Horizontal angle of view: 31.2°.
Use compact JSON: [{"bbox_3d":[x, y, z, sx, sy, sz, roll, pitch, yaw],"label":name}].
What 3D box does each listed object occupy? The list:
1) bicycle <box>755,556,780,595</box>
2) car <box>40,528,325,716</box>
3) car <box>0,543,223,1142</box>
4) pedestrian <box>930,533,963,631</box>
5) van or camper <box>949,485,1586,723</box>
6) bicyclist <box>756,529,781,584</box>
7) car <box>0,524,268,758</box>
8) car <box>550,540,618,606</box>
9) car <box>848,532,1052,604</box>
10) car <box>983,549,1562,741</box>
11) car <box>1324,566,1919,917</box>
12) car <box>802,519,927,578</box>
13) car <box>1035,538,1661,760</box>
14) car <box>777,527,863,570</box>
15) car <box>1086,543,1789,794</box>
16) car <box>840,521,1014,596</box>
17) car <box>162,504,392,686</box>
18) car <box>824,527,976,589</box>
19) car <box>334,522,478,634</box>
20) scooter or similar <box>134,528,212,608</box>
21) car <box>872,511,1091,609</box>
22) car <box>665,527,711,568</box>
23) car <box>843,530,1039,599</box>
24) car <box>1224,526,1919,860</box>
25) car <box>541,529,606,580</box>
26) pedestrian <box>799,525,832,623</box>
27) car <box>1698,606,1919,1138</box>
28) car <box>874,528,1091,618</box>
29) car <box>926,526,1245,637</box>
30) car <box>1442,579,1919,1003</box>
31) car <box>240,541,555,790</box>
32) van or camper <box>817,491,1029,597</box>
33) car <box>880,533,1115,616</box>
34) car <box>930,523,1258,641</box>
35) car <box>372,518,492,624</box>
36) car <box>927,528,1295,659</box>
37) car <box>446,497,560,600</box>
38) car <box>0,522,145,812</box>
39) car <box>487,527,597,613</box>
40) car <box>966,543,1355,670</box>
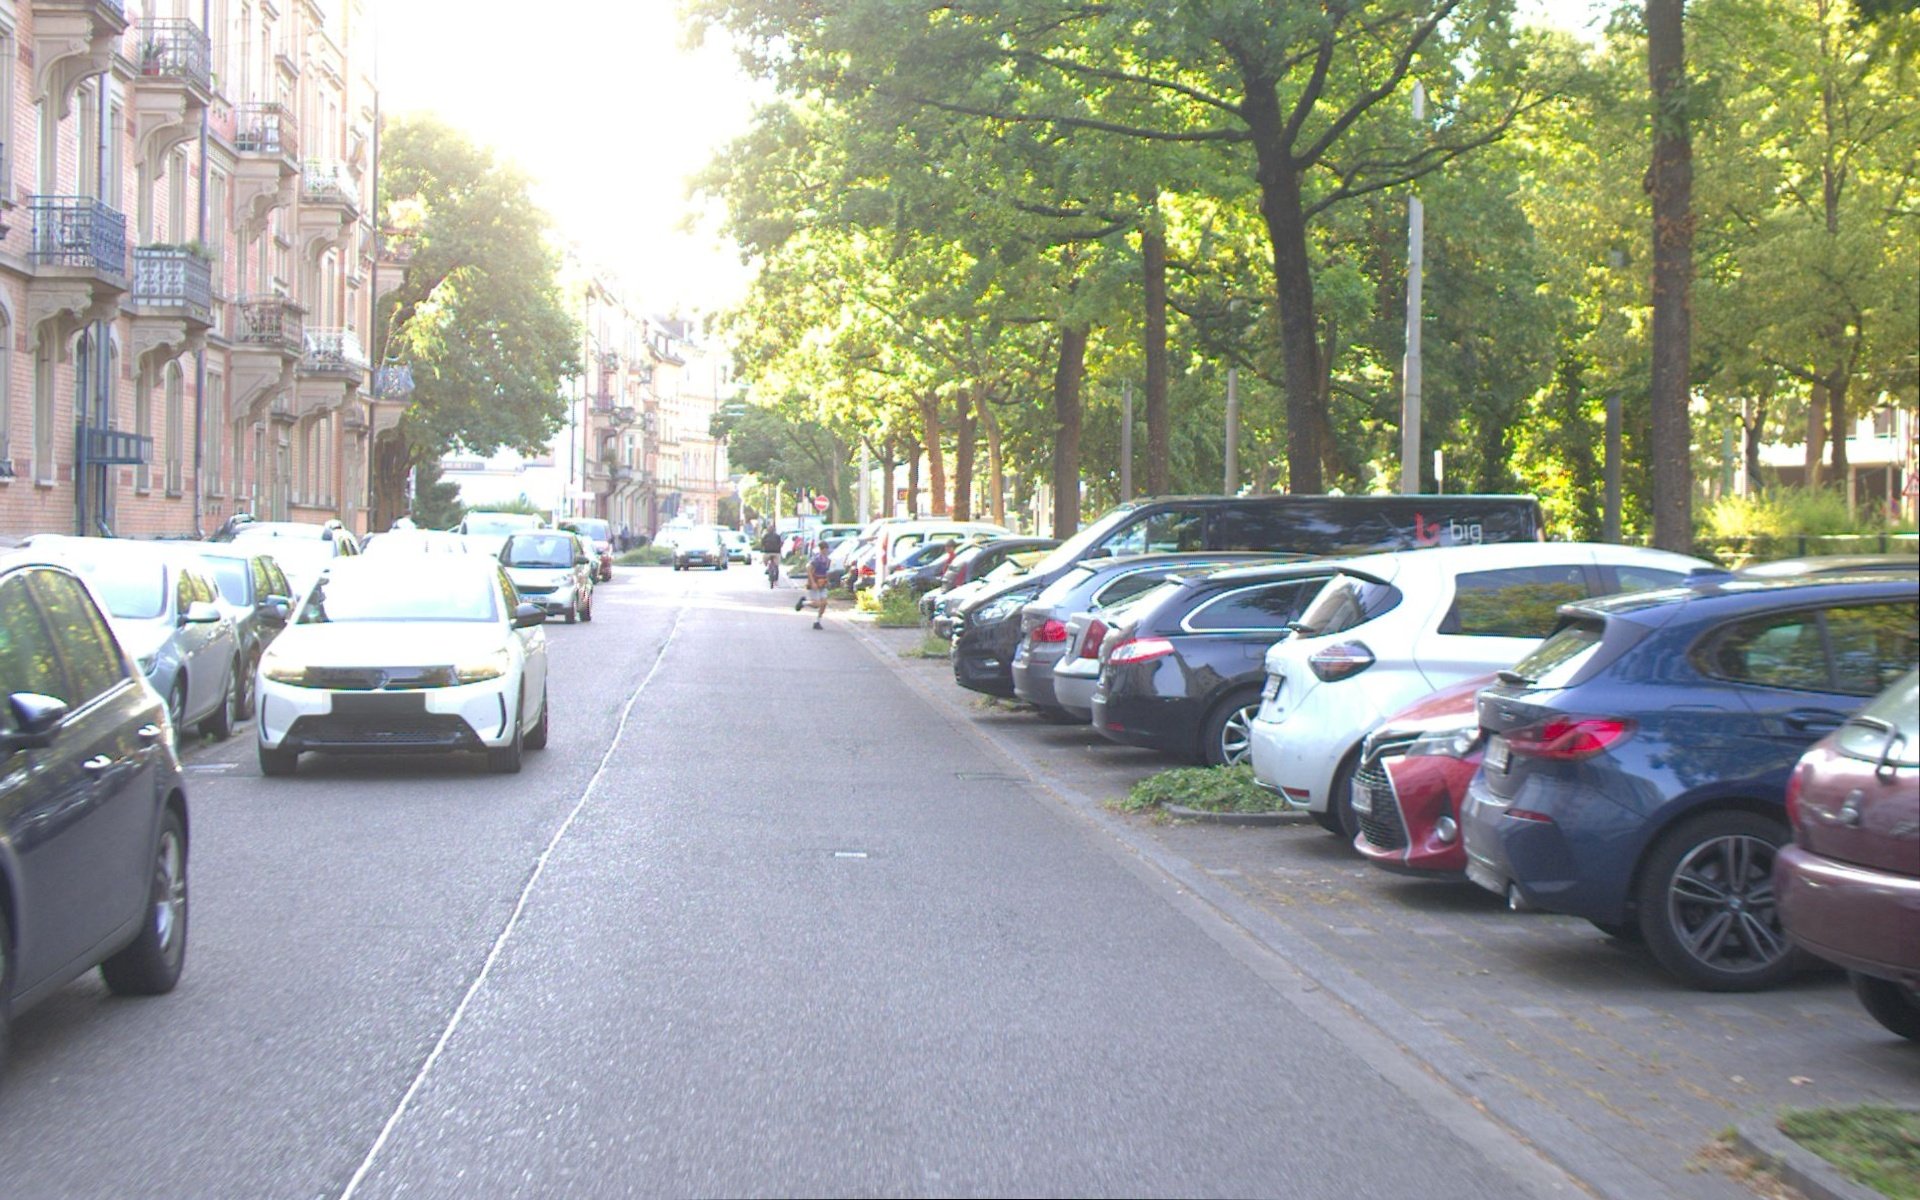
[{"bbox_3d":[-5.572,-0.706,99.578,0.641,1.096,1.944,2,-1,-5],"label":"bicycle"},{"bbox_3d":[-6.709,0.137,30.032,1.615,1.447,4.000,3,1,-1],"label":"car"},{"bbox_3d":[-3.297,0.585,9.656,1.739,1.474,4.001,0,1,-2],"label":"car"},{"bbox_3d":[-0.212,-0.289,54.596,0.380,1.511,0.518,2,3,16],"label":"pedestrian"},{"bbox_3d":[2.628,0.006,30.437,5.413,2.020,2.030,0,2,-1],"label":"van or camper"},{"bbox_3d":[-5.553,-1.254,99.629,0.627,1.568,0.802,2,-1,-5],"label":"bicyclist"},{"bbox_3d":[-6.266,0.232,25.120,1.668,1.466,4.284,4,1,-3],"label":"car"},{"bbox_3d":[-12.081,-0.890,110.636,1.957,2.011,4.268,2,1,-4],"label":"car"},{"bbox_3d":[-0.198,-0.690,72.405,4.220,1.448,1.649,-1,1,1],"label":"car"},{"bbox_3d":[2.480,0.362,27.909,4.398,1.496,1.838,0,0,-6],"label":"car"},{"bbox_3d":[3.607,0.599,15.237,3.782,1.468,1.664,0,0,-1],"label":"car"},{"bbox_3d":[-3.204,-1.708,115.049,3.986,1.788,1.859,2,-1,-6],"label":"car"},{"bbox_3d":[2.784,0.357,25.308,4.399,1.572,1.664,0,0,-1],"label":"car"},{"bbox_3d":[-7.014,-2.576,172.484,3.988,2.007,1.999,2,-1,8],"label":"car"},{"bbox_3d":[3.039,0.436,22.517,4.399,1.572,1.664,0,0,2],"label":"car"},{"bbox_3d":[-0.792,-0.975,80.353,3.986,1.685,1.859,-1,1,-2],"label":"car"},{"bbox_3d":[-6.946,-0.093,35.311,1.751,1.700,4.201,2,1,-4],"label":"car"},{"bbox_3d":[-1.670,-1.143,94.884,3.986,1.543,1.859,2,-1,-6],"label":"car"},{"bbox_3d":[-8.050,-0.350,50.217,1.753,1.459,4.001,3,1,-6],"label":"car"},{"bbox_3d":[-12.818,-0.506,56.066,0.783,1.218,2.704,2,-1,-4],"label":"scooter or similar"},{"bbox_3d":[0.407,-0.793,67.876,4.219,1.857,1.762,-1,1,-2],"label":"car"},{"bbox_3d":[-9.994,-1.931,126.247,1.668,1.459,4.001,0,1,-5],"label":"car"},{"bbox_3d":[-0.444,-0.785,75.290,4.219,1.448,1.865,-1,1,-2],"label":"car"},{"bbox_3d":[3.355,0.467,17.822,3.781,1.640,1.664,0,0,-3],"label":"car"},{"bbox_3d":[-11.807,-1.398,105.097,1.756,1.461,4.268,2,1,-4],"label":"car"},{"bbox_3d":[-2.393,-0.435,56.822,0.380,1.579,0.518,2,3,16],"label":"pedestrian"},{"bbox_3d":[4.294,0.726,10.108,3.781,1.397,1.767,0,0,-7],"label":"car"},{"bbox_3d":[0.364,-0.489,59.943,3.674,1.496,1.762,-1,1,-2],"label":"car"},{"bbox_3d":[1.805,-0.269,50.243,4.398,1.585,1.838,0,0,-8],"label":"car"},{"bbox_3d":[3.745,0.659,12.532,3.782,1.442,1.664,0,0,2],"label":"car"},{"bbox_3d":[-3.759,0.379,23.568,1.668,1.426,4.001,-2,2,-3],"label":"car"},{"bbox_3d":[-0.937,-1.363,84.909,4.980,2.369,2.185,2,-1,-5],"label":"van or camper"},{"bbox_3d":[0.665,-0.480,62.537,4.080,1.437,1.762,-1,1,-6],"label":"car"},{"bbox_3d":[1.817,-0.252,47.638,4.399,1.585,1.838,0,0,-3],"label":"car"},{"bbox_3d":[-8.437,-0.481,54.692,1.746,1.541,4.153,2,1,-10],"label":"car"},{"bbox_3d":[1.846,-0.087,42.857,4.398,1.585,1.838,0,0,-4],"label":"car"},{"bbox_3d":[-9.243,-1.007,69.798,1.993,1.914,5.041,2,-1,-5],"label":"car"},{"bbox_3d":[-6.062,0.290,20.387,1.668,1.503,4.001,4,1,-4],"label":"car"},{"bbox_3d":[-7.117,-0.536,58.668,1.504,1.430,2.753,0,1,1],"label":"car"},{"bbox_3d":[2.288,0.066,40.122,4.399,1.435,1.838,0,0,-1],"label":"car"}]
